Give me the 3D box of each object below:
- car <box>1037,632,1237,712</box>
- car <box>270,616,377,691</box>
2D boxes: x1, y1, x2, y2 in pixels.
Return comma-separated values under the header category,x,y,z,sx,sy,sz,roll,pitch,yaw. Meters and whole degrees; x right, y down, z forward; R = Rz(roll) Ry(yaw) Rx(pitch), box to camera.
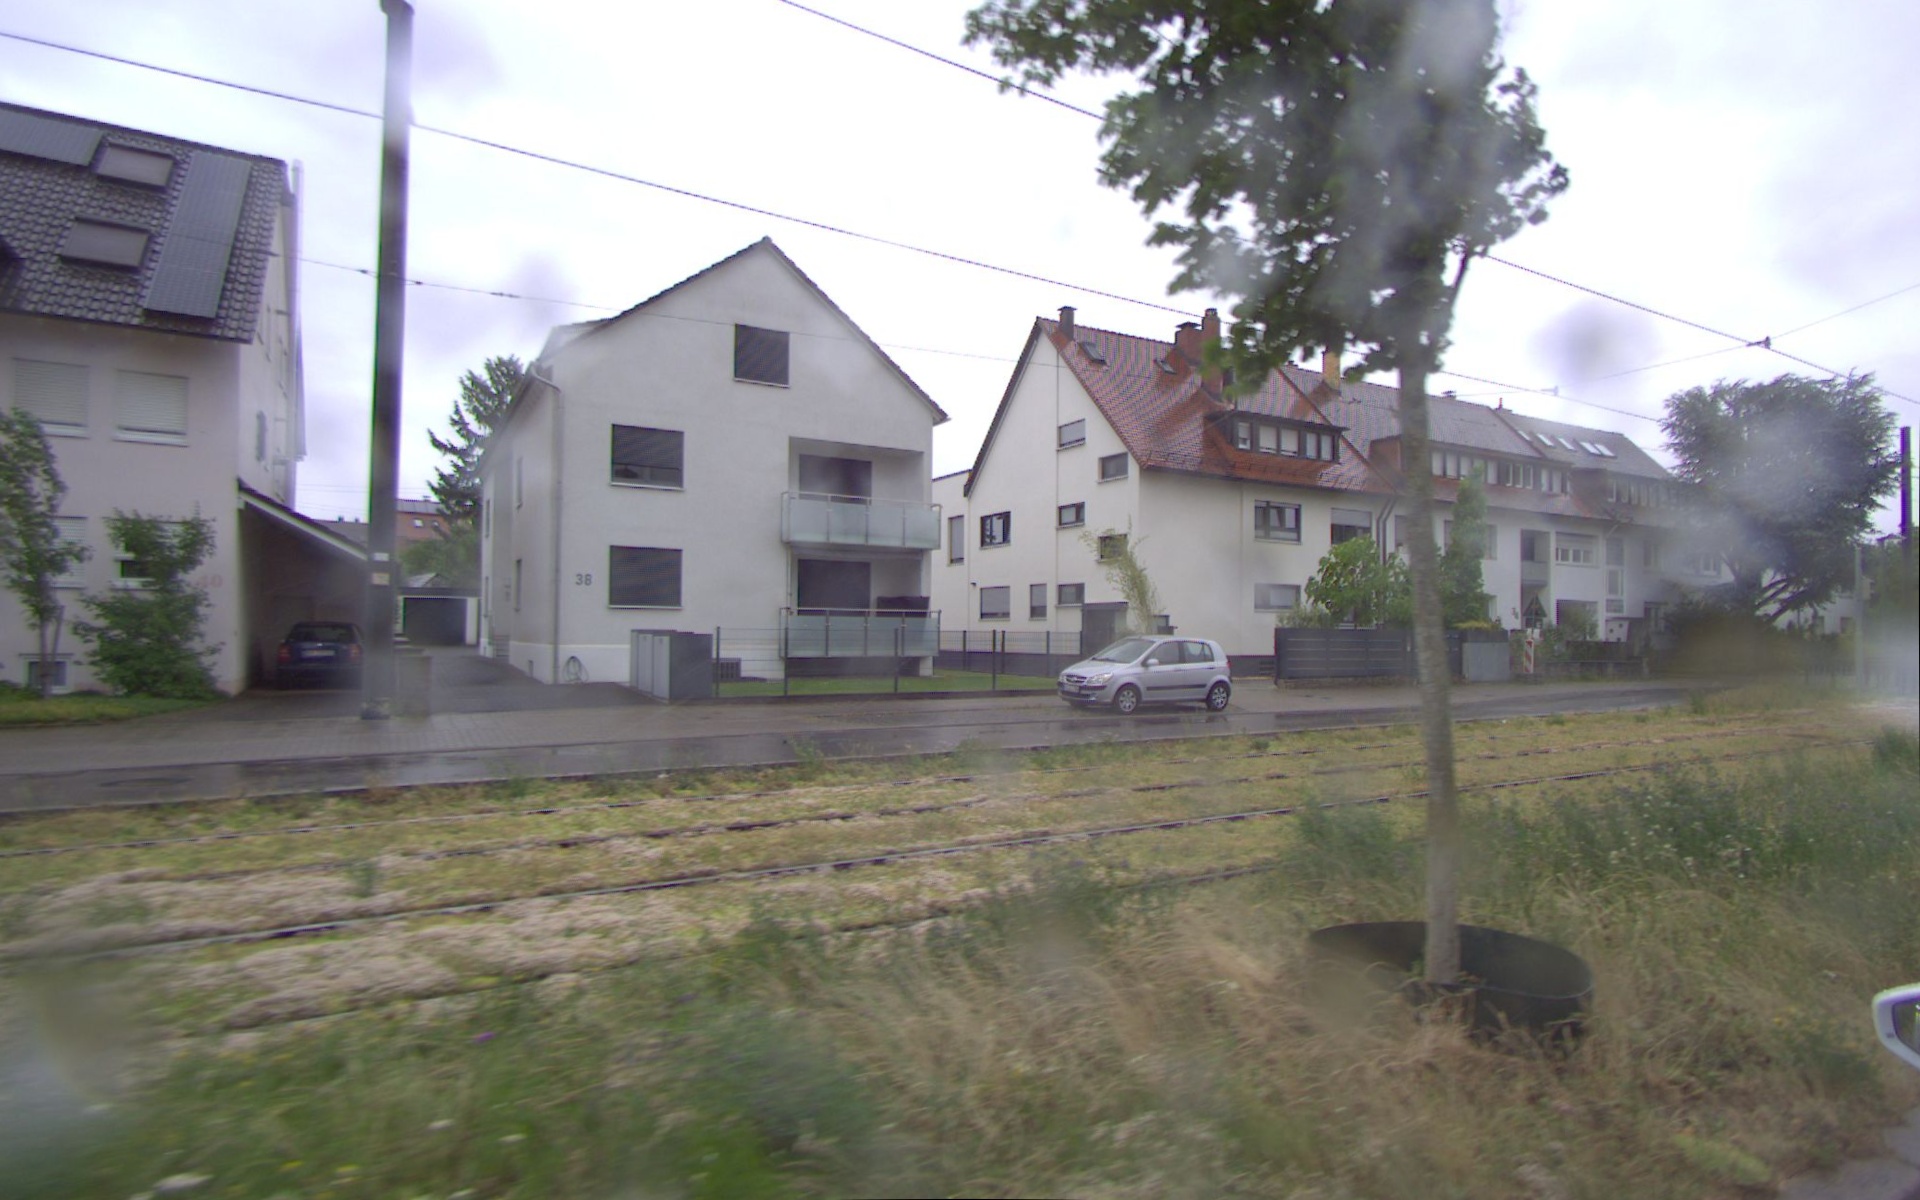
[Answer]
category,x,y,z,sx,sy,sz,roll,pitch,yaw
car,3.616,1.433,20.428,3.618,1.432,1.983,3,-1,-32
car,-14.362,1.159,22.849,1.820,1.521,3.968,2,-1,-30
